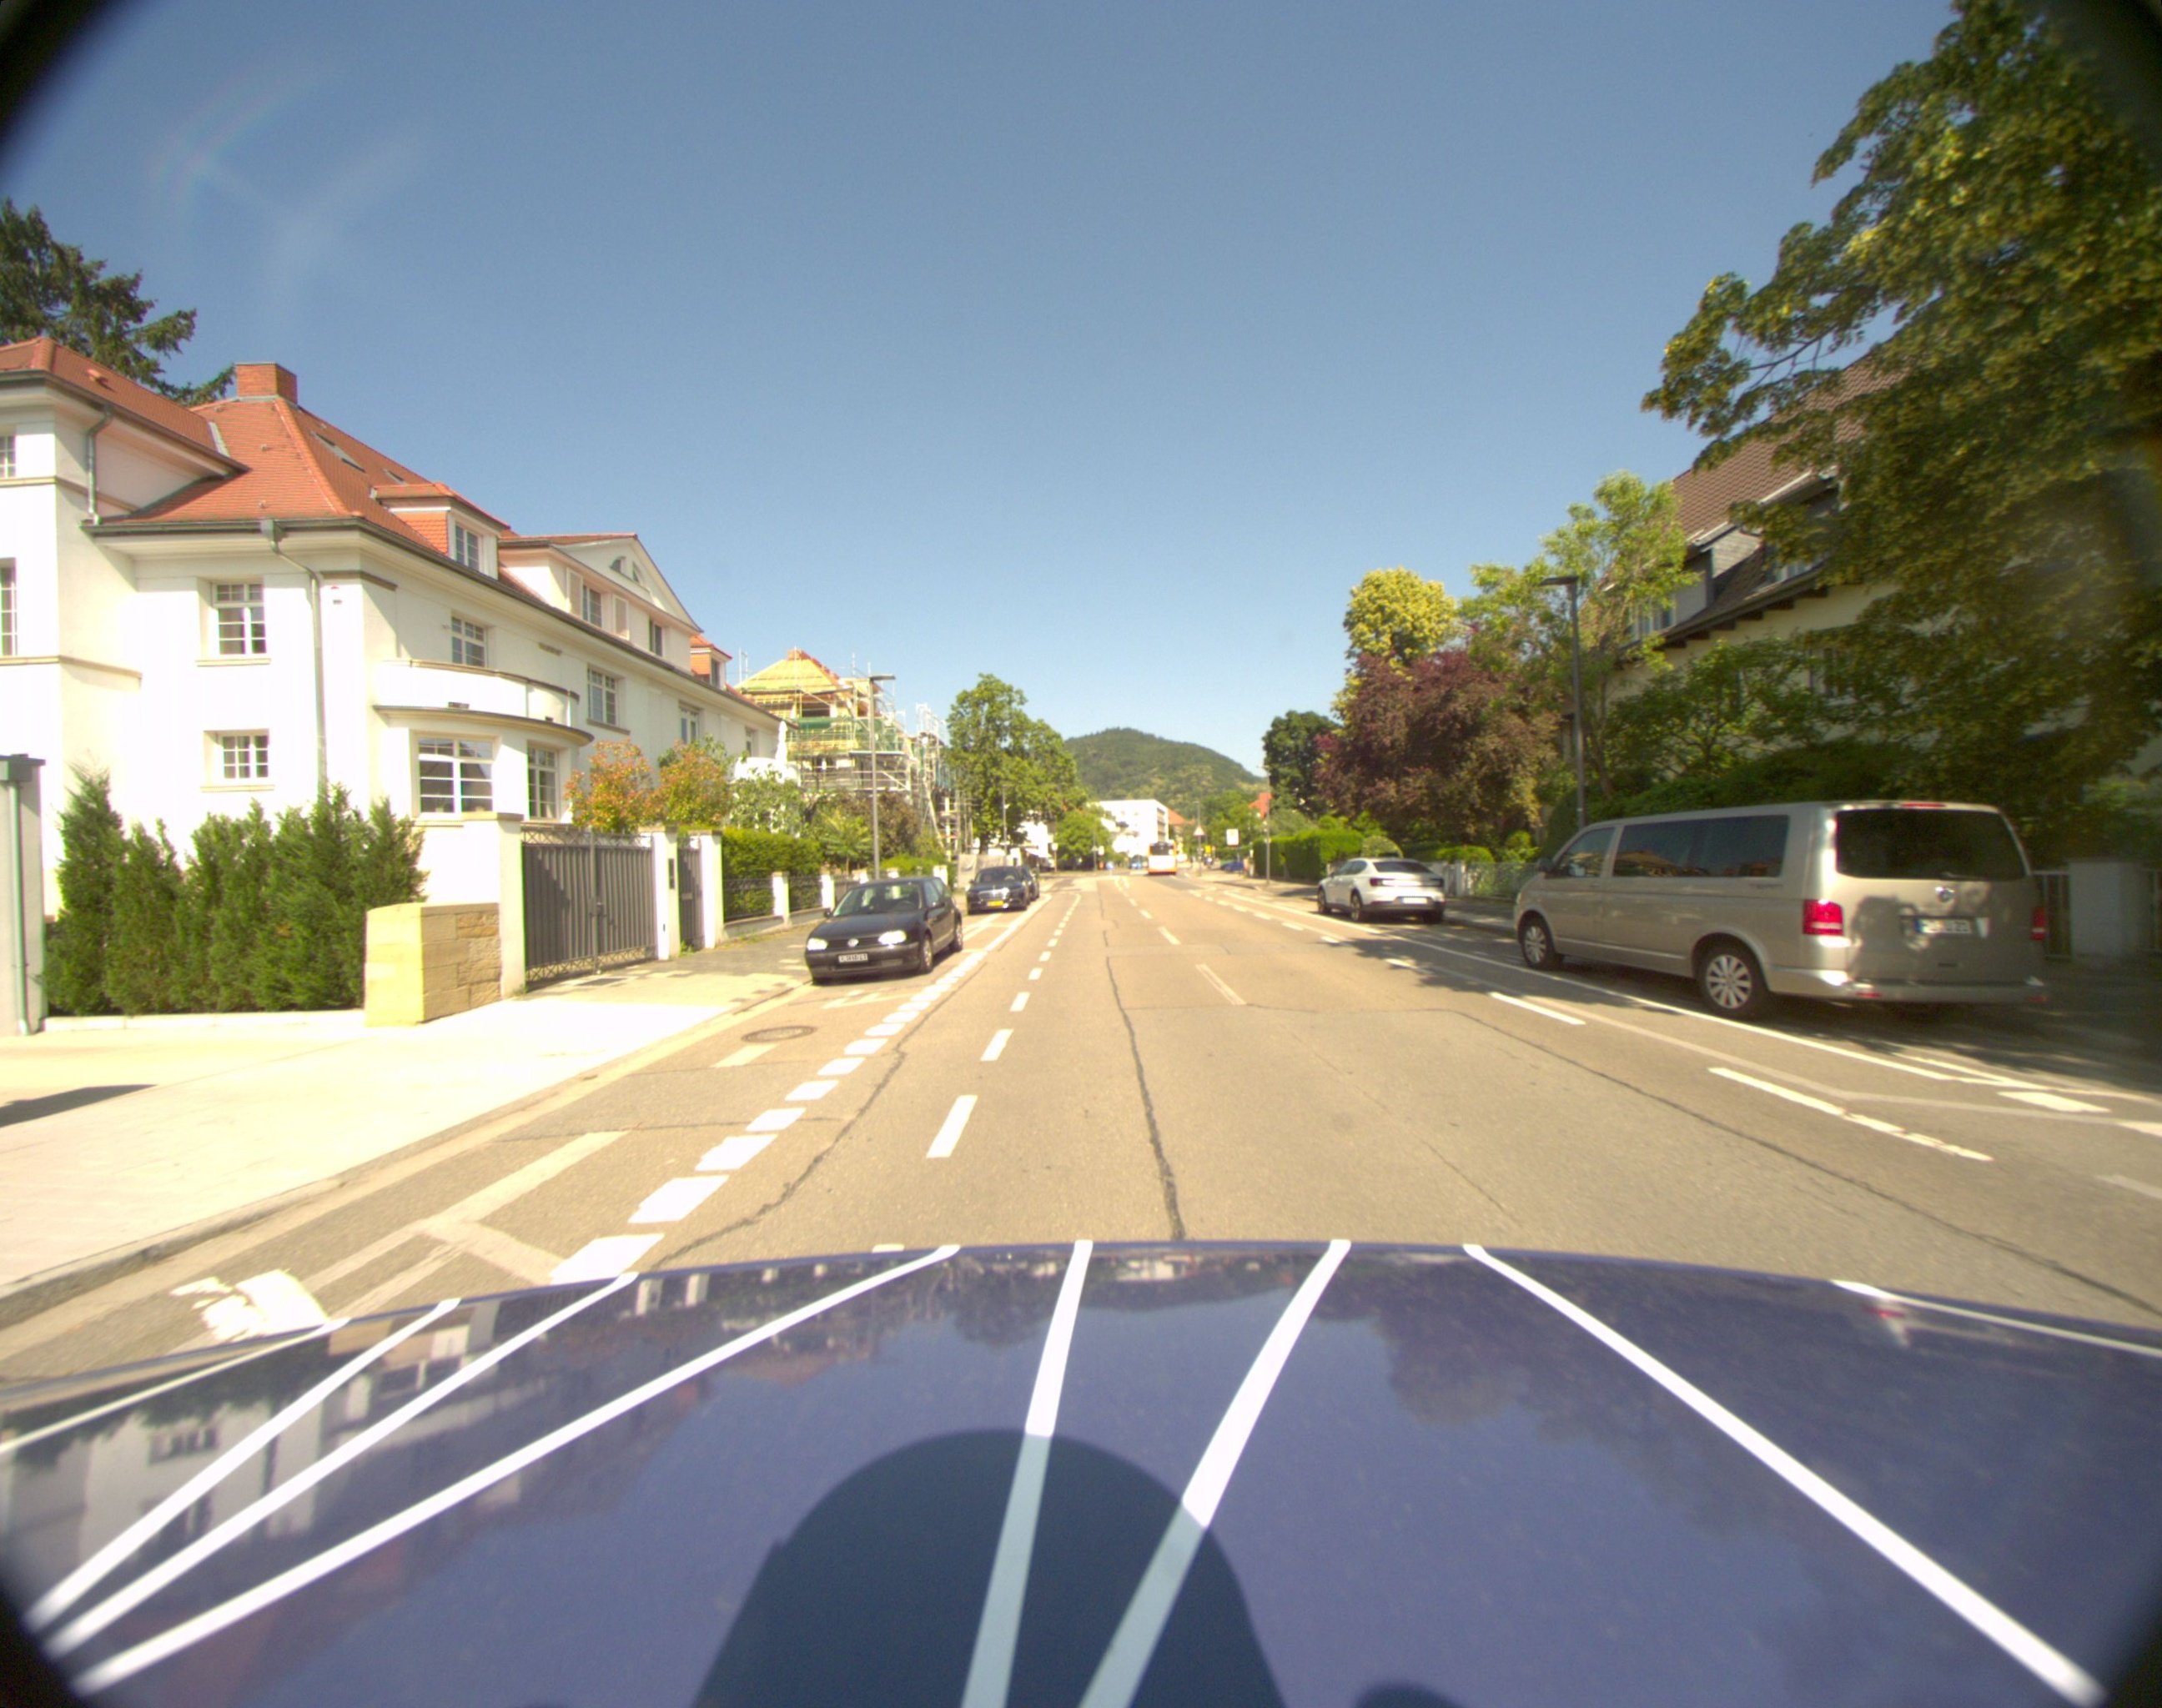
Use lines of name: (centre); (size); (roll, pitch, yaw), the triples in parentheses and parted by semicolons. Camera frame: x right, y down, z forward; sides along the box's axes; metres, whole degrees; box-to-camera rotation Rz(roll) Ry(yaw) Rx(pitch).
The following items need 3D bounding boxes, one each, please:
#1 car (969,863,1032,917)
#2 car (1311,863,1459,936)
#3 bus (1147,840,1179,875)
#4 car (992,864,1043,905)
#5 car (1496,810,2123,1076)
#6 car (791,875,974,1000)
car: (-2.674, 1.155, 26.343); (1.701, 1.573, 4.900); (-4, 0, -2)
car: (6.999, 0.969, 18.050); (1.838, 1.477, 4.563); (0, 0, 2)
bus: (7.708, 0.345, 72.388); (2.751, 3.155, 9.782); (0, 0, 5)
car: (-2.561, 1.209, 31.561); (1.662, 1.467, 3.787); (-4, 0, 0)
car: (6.660, 0.655, 7.994); (1.889, 1.908, 4.868); (1, 0, 0)
car: (-2.988, 1.200, 12.342); (1.623, 1.440, 4.001); (-6, 0, 2)
